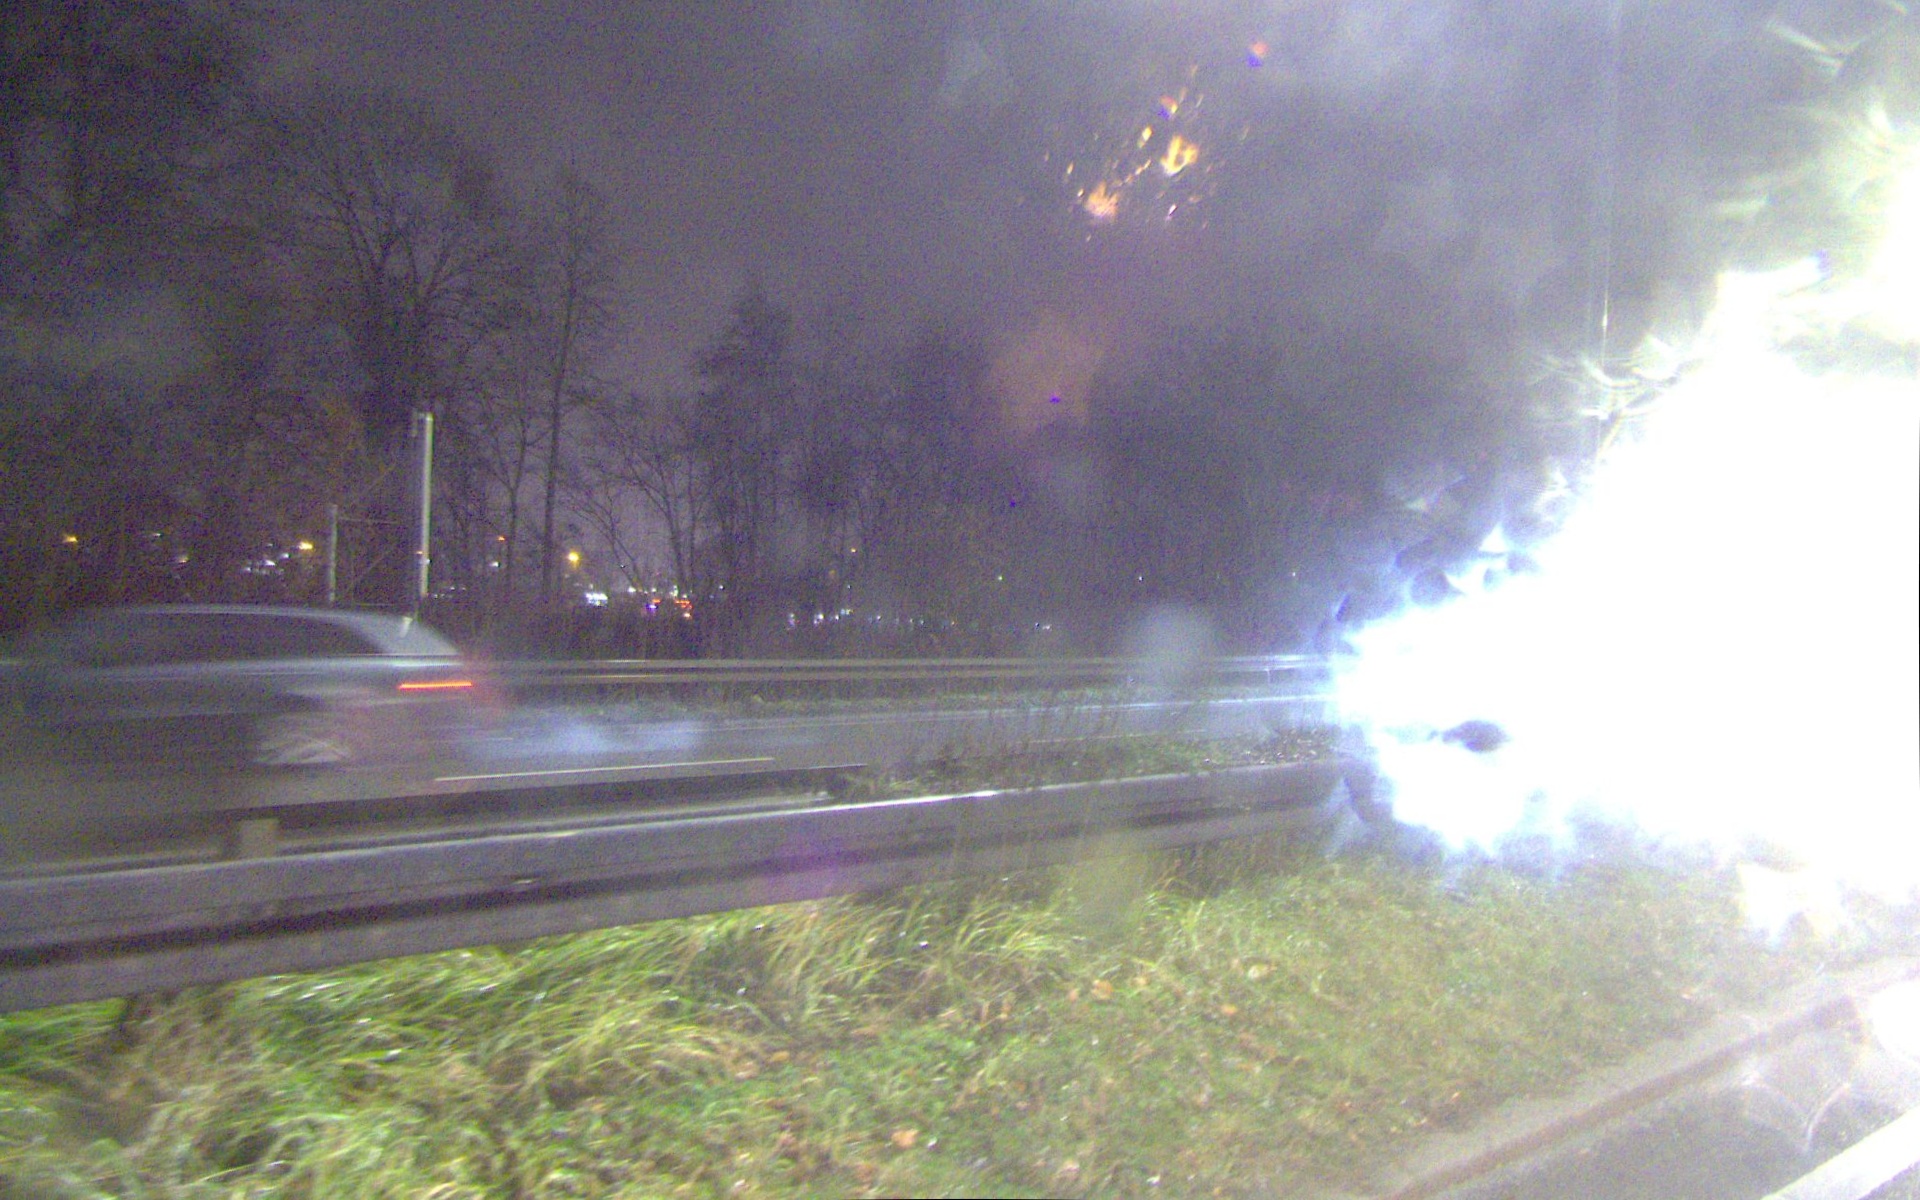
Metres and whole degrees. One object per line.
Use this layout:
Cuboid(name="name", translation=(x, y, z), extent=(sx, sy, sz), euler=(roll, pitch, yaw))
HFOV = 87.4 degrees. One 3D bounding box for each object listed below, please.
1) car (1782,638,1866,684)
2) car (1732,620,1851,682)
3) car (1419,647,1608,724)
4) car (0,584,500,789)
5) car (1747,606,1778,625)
Cuboid(name="car", translation=(34.542, 2.391, 40.119), extent=(4.212, 1.653, 1.752), euler=(1, 0, -38))
Cuboid(name="car", translation=(24.208, 1.463, 29.207), extent=(4.212, 1.629, 1.855), euler=(3, -1, -39))
Cuboid(name="car", translation=(11.763, 1.746, 21.226), extent=(4.622, 1.442, 1.700), euler=(3, -3, -36))
Cuboid(name="car", translation=(-6.843, 0.712, 8.923), extent=(4.787, 1.528, 1.983), euler=(2, -3, -33))
Cuboid(name="car", translation=(66.866, 1.311, 83.740), extent=(1.718, 1.522, 3.988), euler=(2, 0, 35))
